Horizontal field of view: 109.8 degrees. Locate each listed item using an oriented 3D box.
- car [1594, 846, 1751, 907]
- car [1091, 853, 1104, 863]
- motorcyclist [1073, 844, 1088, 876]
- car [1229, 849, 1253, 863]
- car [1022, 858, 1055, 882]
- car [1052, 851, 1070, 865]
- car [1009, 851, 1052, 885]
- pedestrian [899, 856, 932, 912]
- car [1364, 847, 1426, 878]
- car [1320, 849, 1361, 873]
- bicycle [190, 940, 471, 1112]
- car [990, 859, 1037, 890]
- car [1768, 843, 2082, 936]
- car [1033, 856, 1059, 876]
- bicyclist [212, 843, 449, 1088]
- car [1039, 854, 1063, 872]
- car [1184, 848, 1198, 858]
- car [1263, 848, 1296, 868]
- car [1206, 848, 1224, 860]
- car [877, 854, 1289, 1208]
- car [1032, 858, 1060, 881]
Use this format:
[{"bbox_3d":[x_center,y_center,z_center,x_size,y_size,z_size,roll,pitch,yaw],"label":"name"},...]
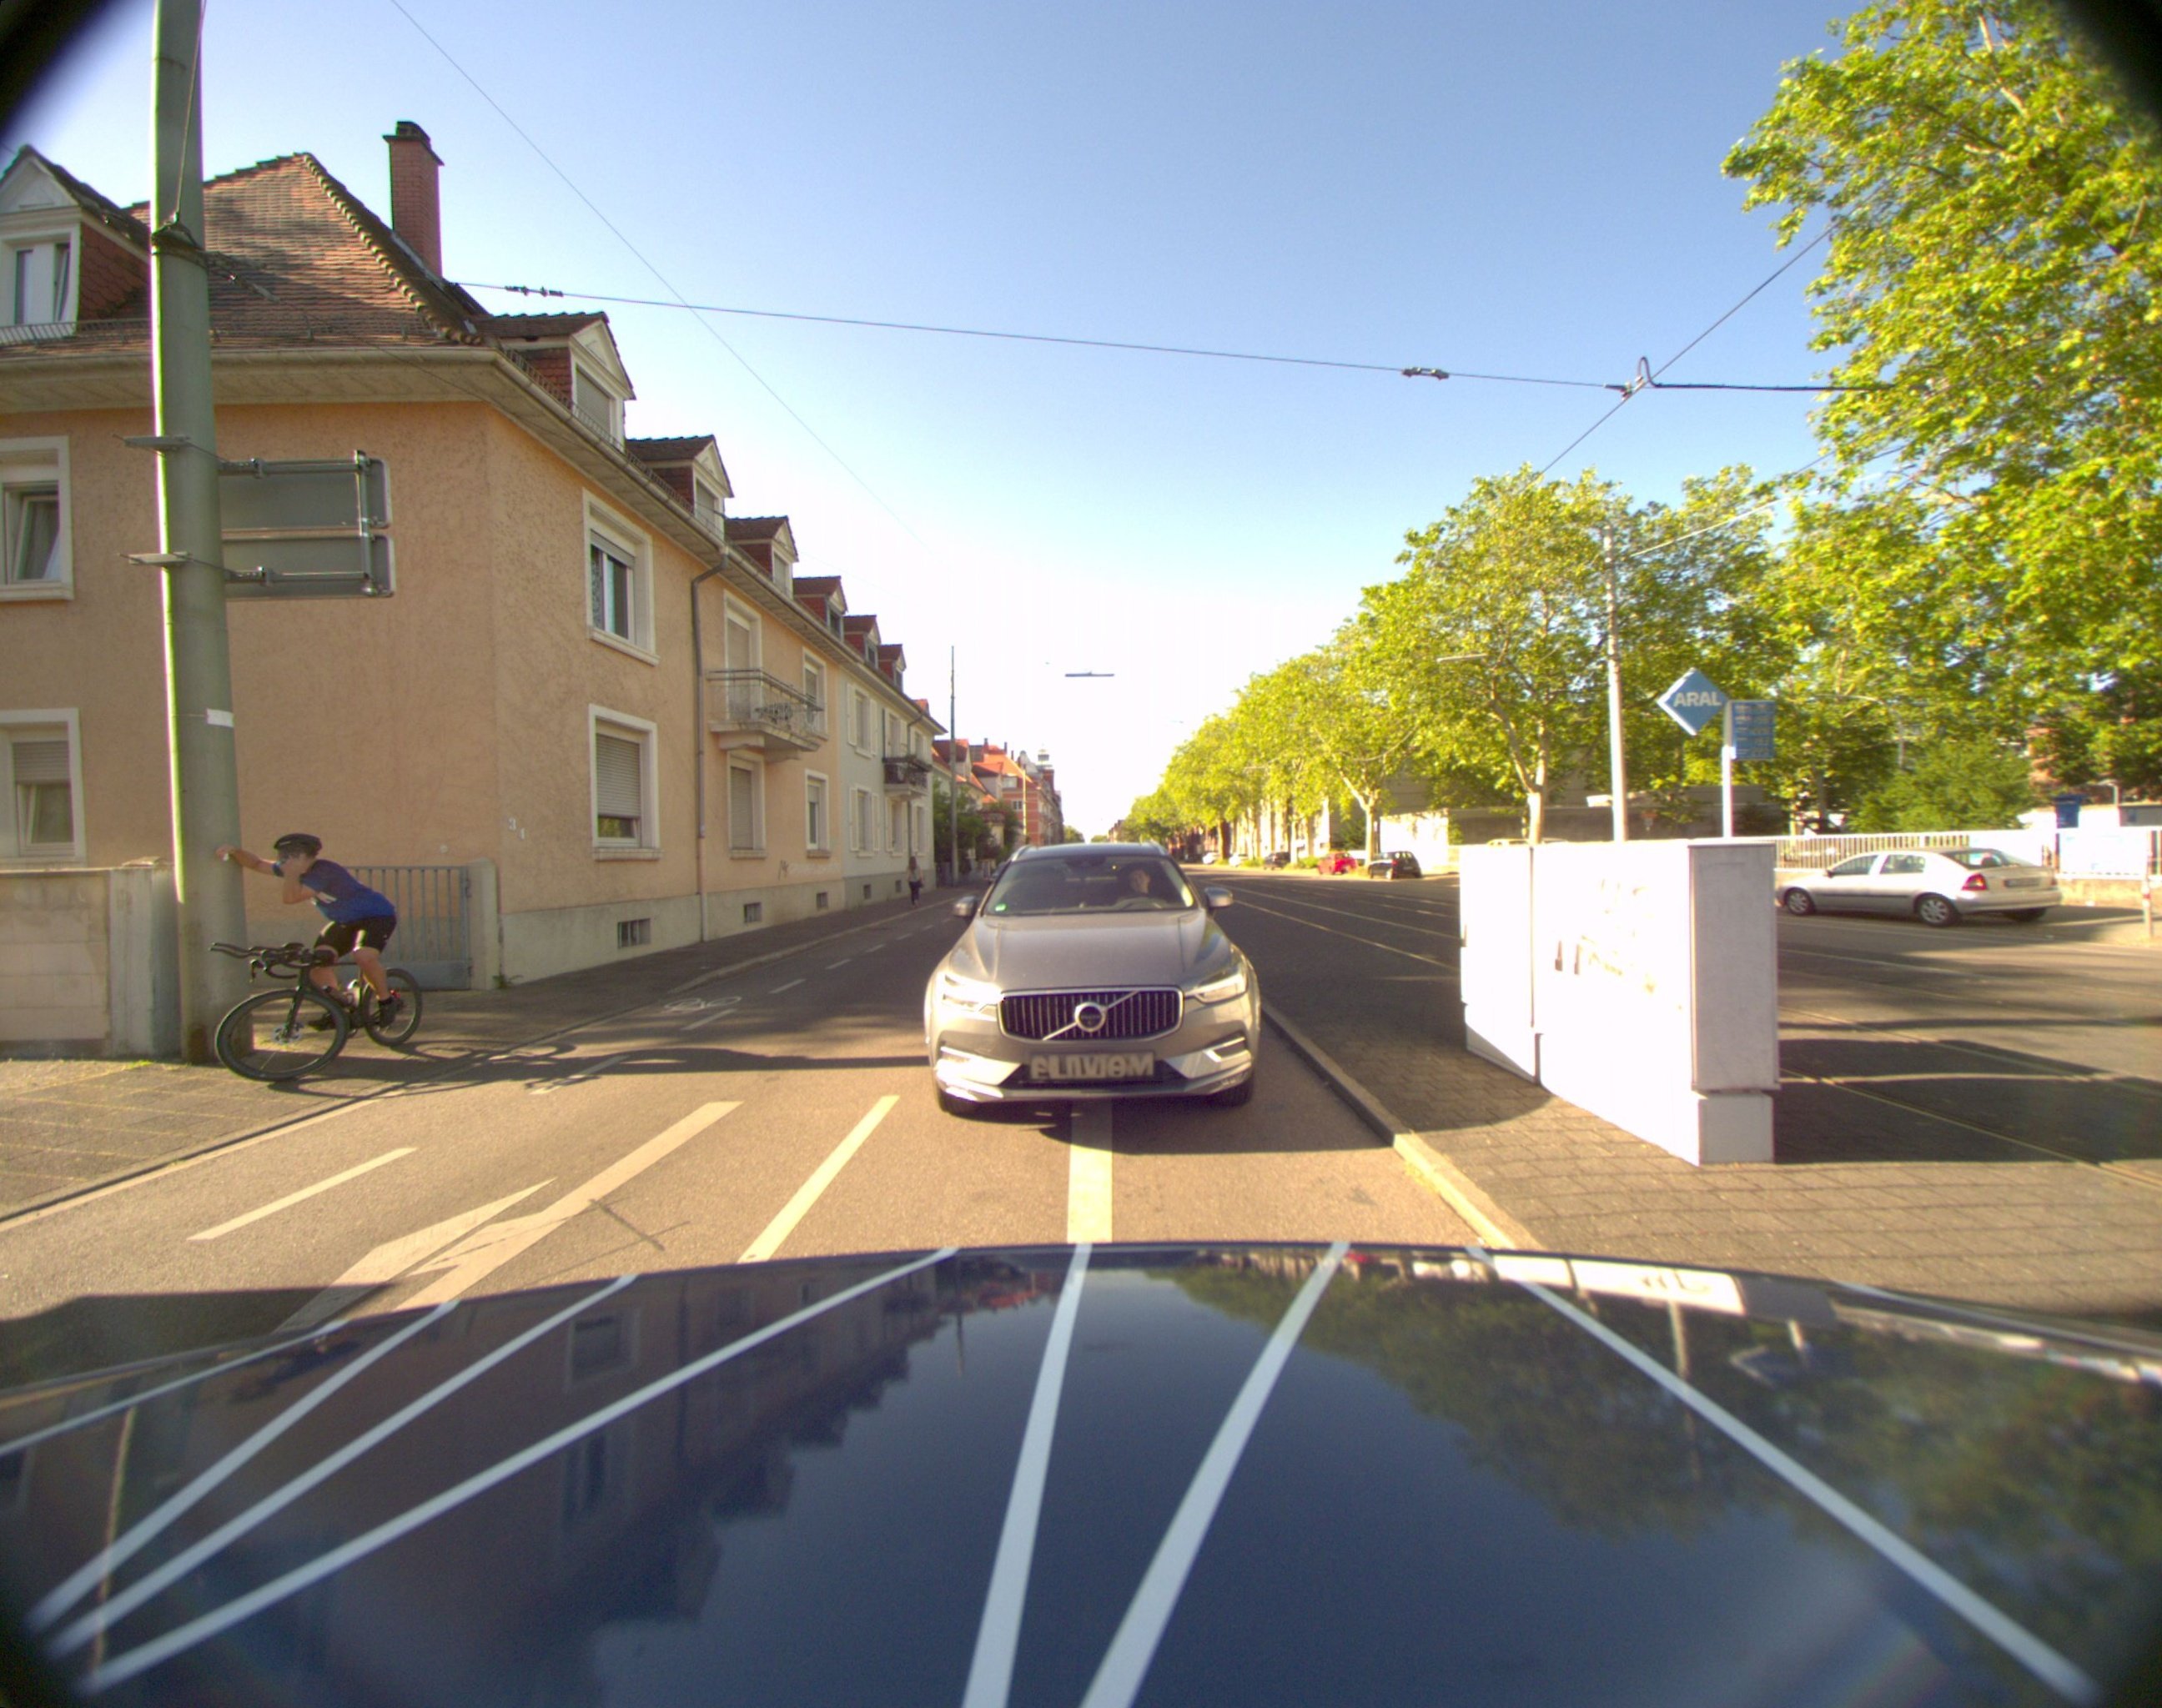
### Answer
[{"bbox_3d":[16.429,0.581,21.340,1.692,1.455,3.519,-4,0,2],"label":"car"},{"bbox_3d":[2.553,0.676,120.613,1.998,1.543,4.000,-1,0,1],"label":"car"},{"bbox_3d":[-0.011,0.339,44.675,0.827,1.832,1.159,-2,1,1],"label":"motorcyclist"},{"bbox_3d":[17.541,0.231,83.427,1.802,1.489,4.000,-1,0,1],"label":"car"},{"bbox_3d":[-2.687,0.995,48.303,1.785,1.346,4.000,-1,0,1],"label":"car"},{"bbox_3d":[-2.209,0.456,85.491,1.875,1.477,4.000,-1,0,1],"label":"car"},{"bbox_3d":[-2.791,0.719,42.884,1.751,1.767,5.351,-1,0,3],"label":"car"},{"bbox_3d":[-5.077,0.895,23.391,0.694,1.652,1.098,-2,1,0],"label":"pedestrian"},{"bbox_3d":[16.880,0.429,40.980,1.826,1.521,3.653,-2,0,1],"label":"car"},{"bbox_3d":[16.940,0.442,49.750,1.641,1.499,3.046,-1,0,1],"label":"car"},{"bbox_3d":[-5.944,1.303,6.175,0.572,0.986,1.698,2,0,1],"label":"bicycle"},{"bbox_3d":[-3.213,0.967,37.025,1.647,1.357,3.868,-1,0,4],"label":"car"},{"bbox_3d":[16.244,0.602,14.991,1.795,1.455,3.966,-4,0,2],"label":"car"},{"bbox_3d":[-2.755,0.950,60.675,1.785,1.468,4.000,-1,0,1],"label":"car"},{"bbox_3d":[-6.148,0.862,6.290,1.076,1.854,0.846,2,1,1],"label":"bicyclist"},{"bbox_3d":[-2.566,0.772,66.828,1.875,1.477,4.000,-1,0,1],"label":"car"},{"bbox_3d":[18.188,-0.208,125.629,1.802,1.504,4.000,-1,0,1],"label":"car"},{"bbox_3d":[17.191,0.295,66.042,1.802,1.652,4.000,-1,0,1],"label":"car"},{"bbox_3d":[17.727,0.000,100.672,1.802,1.504,4.000,-1,0,1],"label":"car"},{"bbox_3d":[0.041,0.852,5.801,1.940,1.650,4.321,-1,0,1],"label":"car"},{"bbox_3d":[-2.470,1.089,54.439,1.785,1.468,4.000,-1,0,1],"label":"car"}]
